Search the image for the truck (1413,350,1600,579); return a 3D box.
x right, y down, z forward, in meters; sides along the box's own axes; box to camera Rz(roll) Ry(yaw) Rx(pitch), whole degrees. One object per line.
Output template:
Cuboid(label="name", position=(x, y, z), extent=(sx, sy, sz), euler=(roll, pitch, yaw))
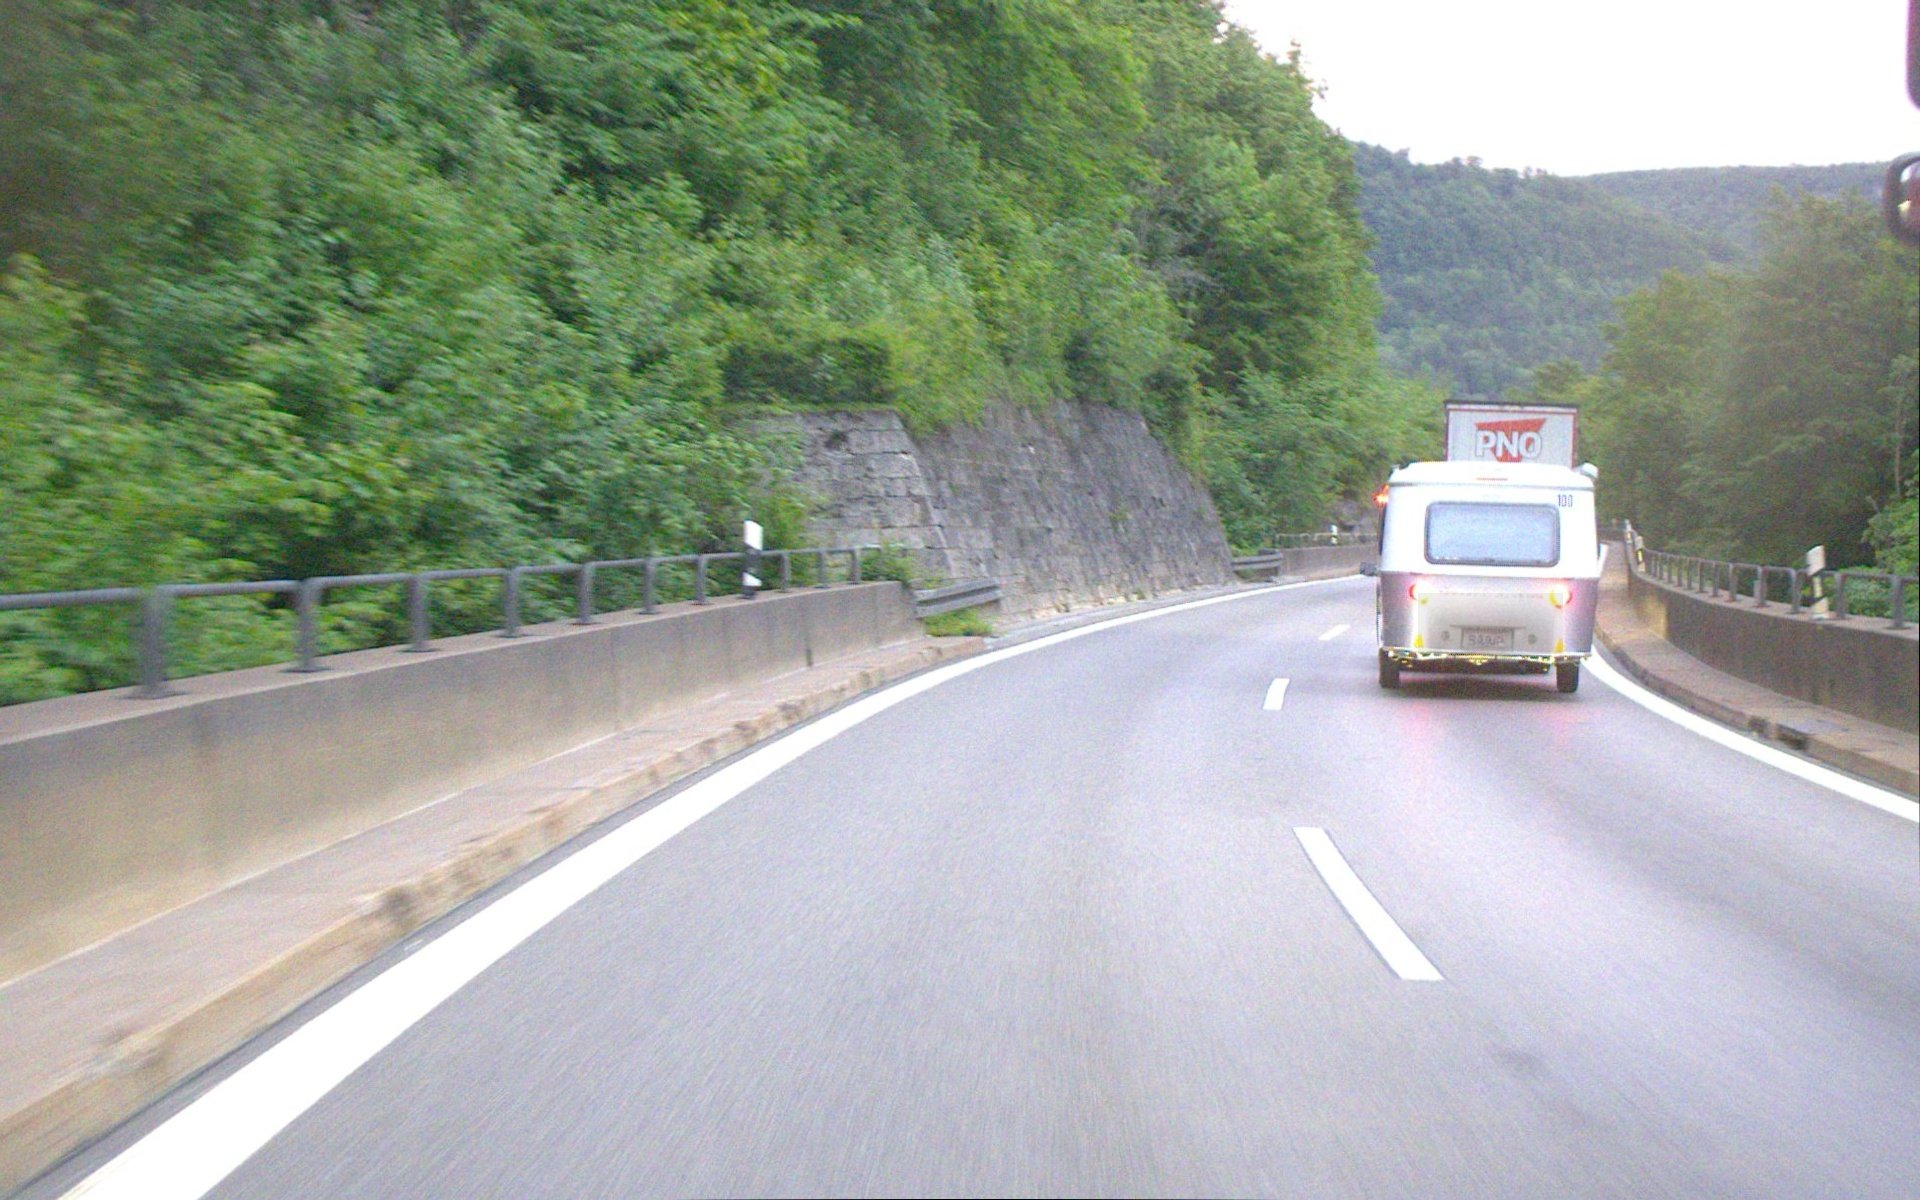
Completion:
Cuboid(label="truck", position=(11.620, -2.700, 73.625), extent=(3.296, 4.158, 16.497), euler=(-3, 0, 9))

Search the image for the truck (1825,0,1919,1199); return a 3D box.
Cuboid(label="truck", position=(3.617, -0.585, 4.720), extent=(3.069, 4.130, 6.447), euler=(1, 1, -1))

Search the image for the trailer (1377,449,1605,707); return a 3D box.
Cuboid(label="trailer", position=(5.318, -0.273, 34.947), extent=(2.055, 2.367, 5.936), euler=(1, 1, 7))
